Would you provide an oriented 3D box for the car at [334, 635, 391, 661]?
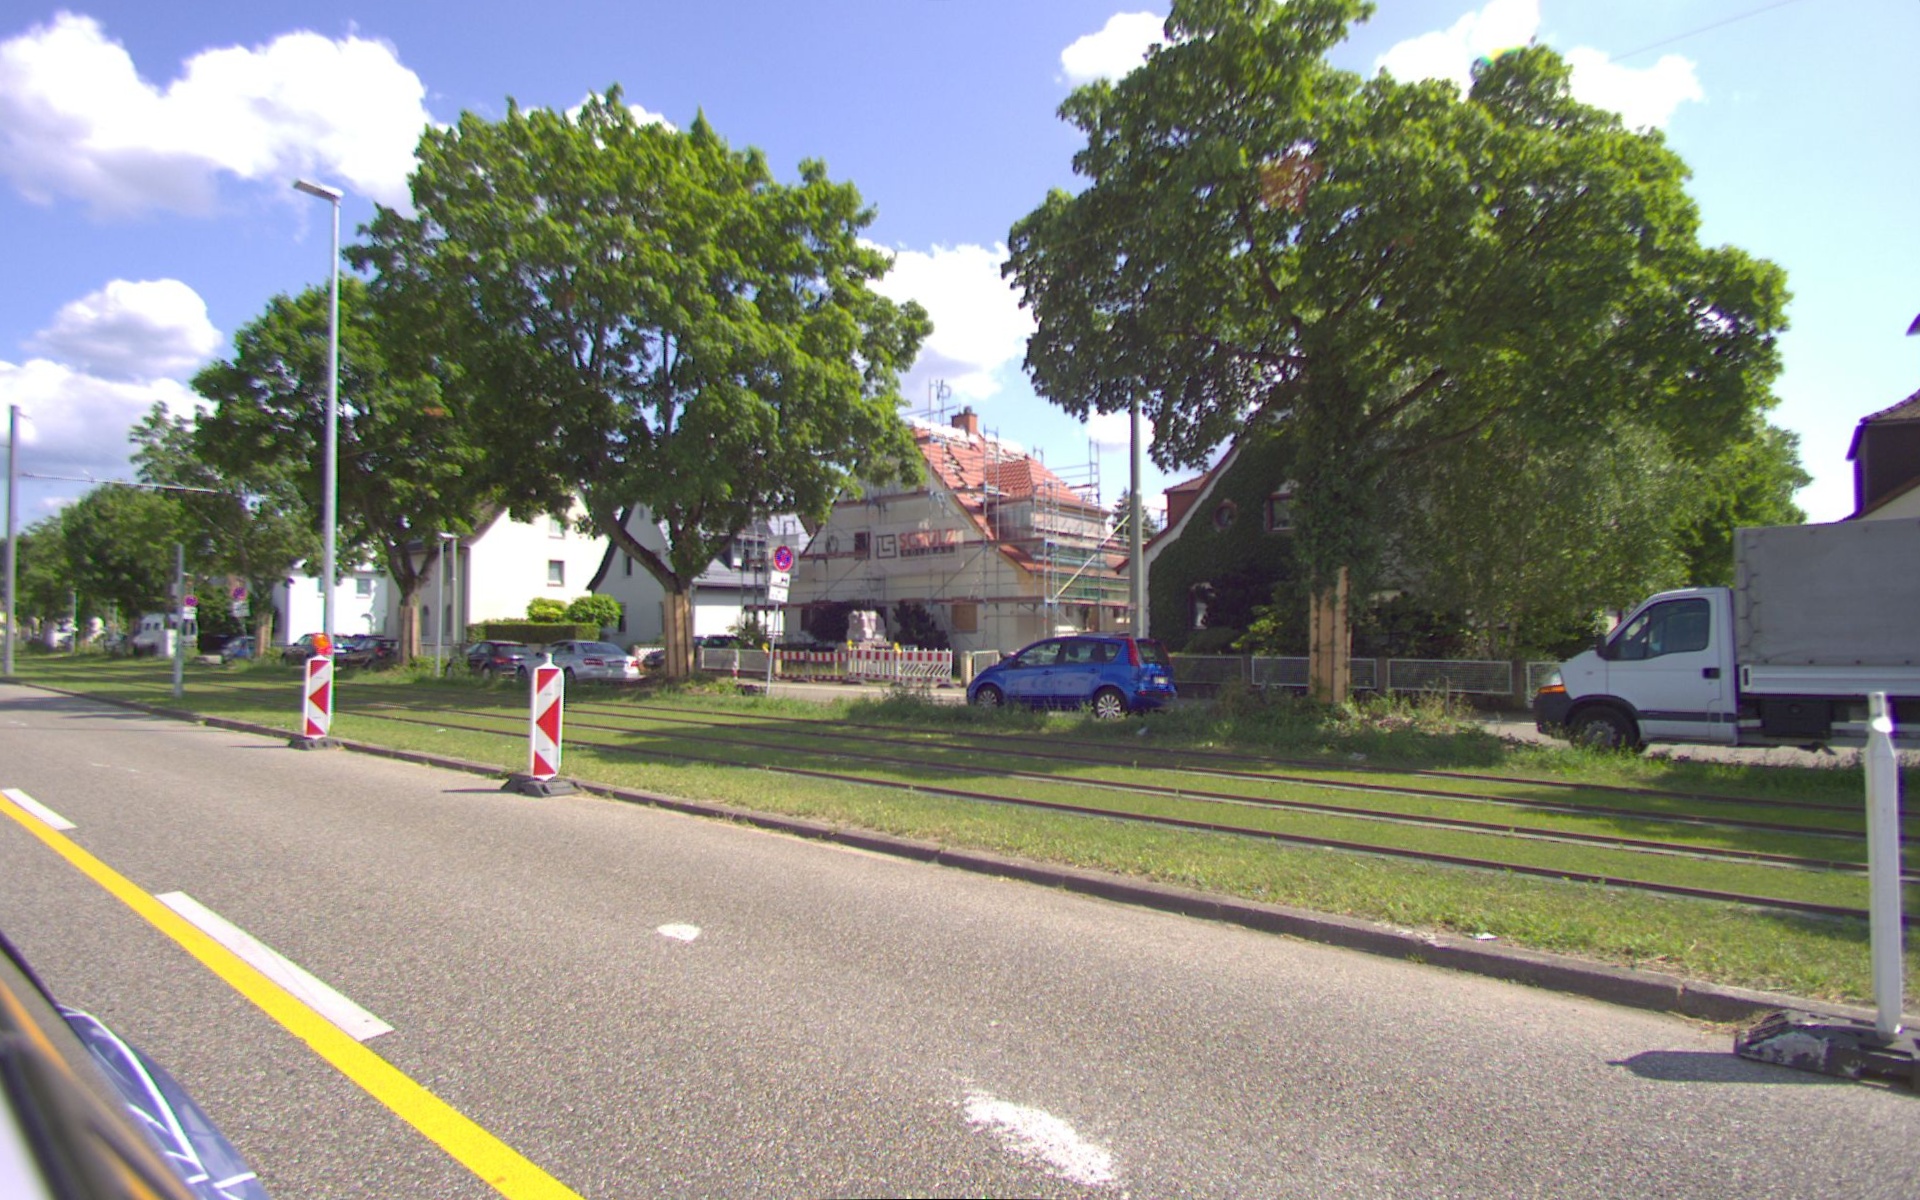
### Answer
[{"bbox_3d":[-37.397,2.996,63.337,3.998,1.589,1.883,-1,-3,41],"label":"car"}]

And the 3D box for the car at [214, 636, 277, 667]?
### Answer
[{"bbox_3d":[-35.810,2.569,50.704,3.889,1.447,1.735,-1,-3,43],"label":"car"}]

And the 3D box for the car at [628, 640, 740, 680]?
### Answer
[{"bbox_3d":[-11.074,2.368,40.806,1.981,1.412,3.946,-1,-1,40],"label":"car"}]

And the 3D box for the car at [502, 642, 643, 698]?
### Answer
[{"bbox_3d":[-11.645,2.037,30.240,4.936,1.494,1.786,-1,-3,41],"label":"car"}]

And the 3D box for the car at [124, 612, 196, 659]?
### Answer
[{"bbox_3d":[-49.154,2.213,62.144,6.454,2.751,1.974,-2,-4,39],"label":"car"}]

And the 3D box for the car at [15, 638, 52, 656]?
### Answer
[{"bbox_3d":[-86.619,4.398,94.600,4.320,1.551,1.973,-1,-3,41],"label":"car"}]

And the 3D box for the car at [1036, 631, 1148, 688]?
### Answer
[{"bbox_3d":[4.229,1.867,32.027,1.872,1.697,3.610,-1,-3,40],"label":"car"}]

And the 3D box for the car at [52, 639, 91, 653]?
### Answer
[{"bbox_3d":[-71.043,3.665,80.908,3.833,1.101,1.763,-1,-3,40],"label":"car"}]

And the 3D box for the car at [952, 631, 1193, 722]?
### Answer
[{"bbox_3d":[2.014,1.337,18.630,3.995,1.464,1.974,-1,-3,39],"label":"car"}]

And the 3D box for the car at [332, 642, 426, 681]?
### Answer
[{"bbox_3d":[-23.322,2.451,40.573,3.997,1.450,1.973,-1,-4,40],"label":"car"}]

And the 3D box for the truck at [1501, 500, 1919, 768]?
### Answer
[{"bbox_3d":[10.024,0.450,11.797,6.271,2.789,1.973,-2,-6,40],"label":"truck"}]

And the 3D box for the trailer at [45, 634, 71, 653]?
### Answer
[{"bbox_3d":[-75.095,3.621,84.244,2.280,1.530,1.286,-2,-4,40],"label":"trailer"}]

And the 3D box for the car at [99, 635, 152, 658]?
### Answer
[{"bbox_3d":[-56.510,3.137,68.481,4.483,1.517,1.973,-1,-3,41],"label":"car"}]

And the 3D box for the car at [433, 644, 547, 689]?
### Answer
[{"bbox_3d":[-15.708,2.196,33.749,3.850,1.328,1.973,-1,-5,40],"label":"car"}]

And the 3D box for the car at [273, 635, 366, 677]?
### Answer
[{"bbox_3d":[-28.038,2.424,44.265,4.384,1.704,1.975,-1,-3,37],"label":"car"}]
